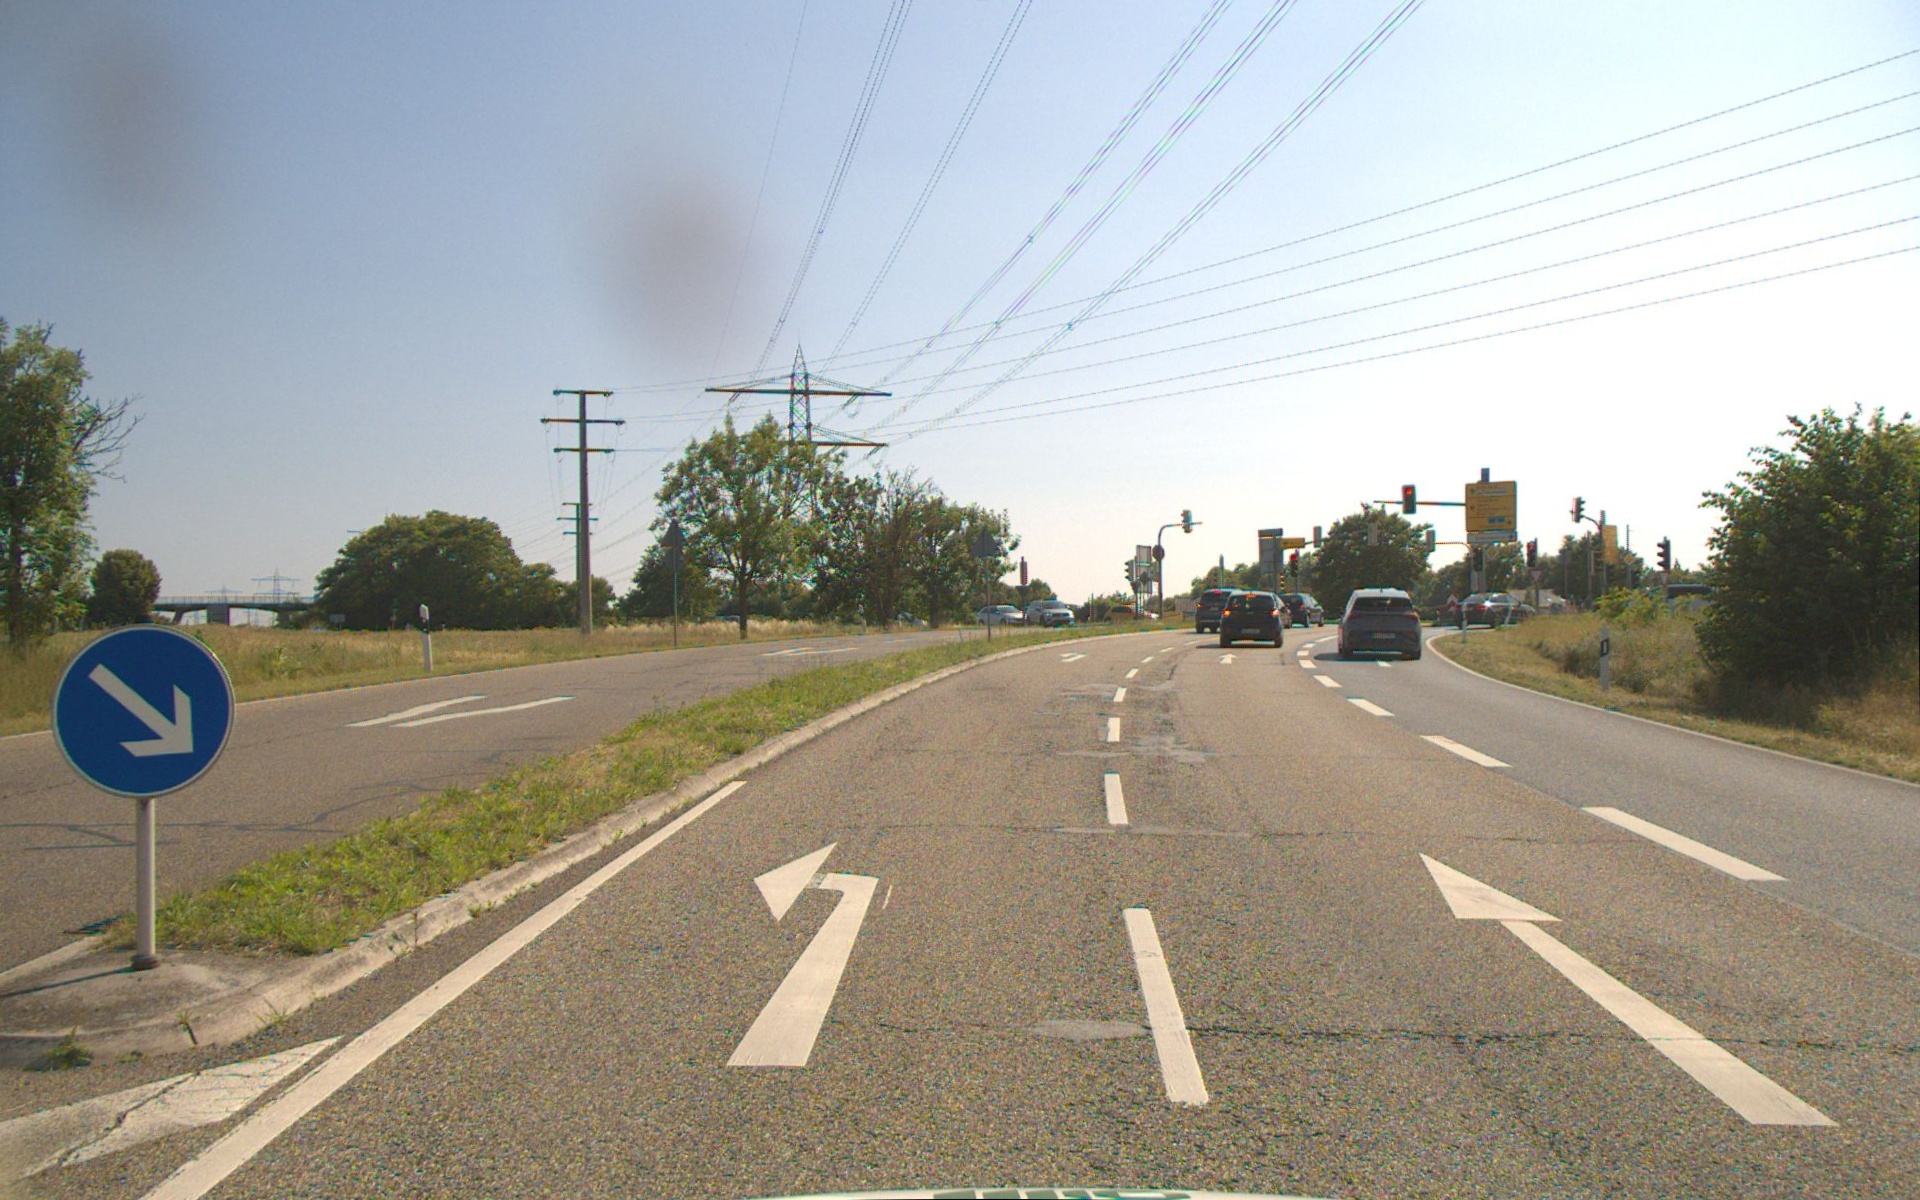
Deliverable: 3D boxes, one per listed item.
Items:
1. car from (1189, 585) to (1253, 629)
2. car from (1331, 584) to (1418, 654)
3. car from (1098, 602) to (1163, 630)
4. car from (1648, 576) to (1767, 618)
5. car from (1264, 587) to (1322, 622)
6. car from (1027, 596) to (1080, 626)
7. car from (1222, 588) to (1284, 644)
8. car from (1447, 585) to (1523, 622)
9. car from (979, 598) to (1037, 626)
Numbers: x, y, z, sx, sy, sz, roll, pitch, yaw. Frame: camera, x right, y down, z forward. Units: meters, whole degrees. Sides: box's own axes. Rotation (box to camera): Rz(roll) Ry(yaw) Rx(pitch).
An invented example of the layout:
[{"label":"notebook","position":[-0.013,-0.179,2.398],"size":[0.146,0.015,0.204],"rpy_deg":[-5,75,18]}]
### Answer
[{"label":"car","position":[9.784,0.264,61.871],"size":[1.706,1.596,3.625],"rpy_deg":[0,0,20]},{"label":"car","position":[9.608,0.406,38.567],"size":[1.735,1.544,4.103],"rpy_deg":[-1,0,11]},{"label":"car","position":[10.784,1.020,104.987],"size":[1.804,1.680,3.939],"rpy_deg":[0,-1,-41]},{"label":"car","position":[36.181,-0.173,80.139],"size":[1.985,1.951,4.868],"rpy_deg":[0,1,-44]},{"label":"car","position":[14.712,0.197,72.947],"size":[1.707,1.510,3.621],"rpy_deg":[1,0,25]},{"label":"car","position":[5.359,0.663,95.345],"size":[1.785,1.680,3.982],"rpy_deg":[-1,-1,-16]},{"label":"car","position":[8.051,0.406,45.378],"size":[1.598,1.473,3.298],"rpy_deg":[0,0,10]},{"label":"car","position":[21.696,0.146,68.222],"size":[1.616,1.410,3.980],"rpy_deg":[-1,0,40]},{"label":"car","position":[2.941,0.745,101.574],"size":[1.795,1.680,3.960],"rpy_deg":[0,-1,-30]}]
